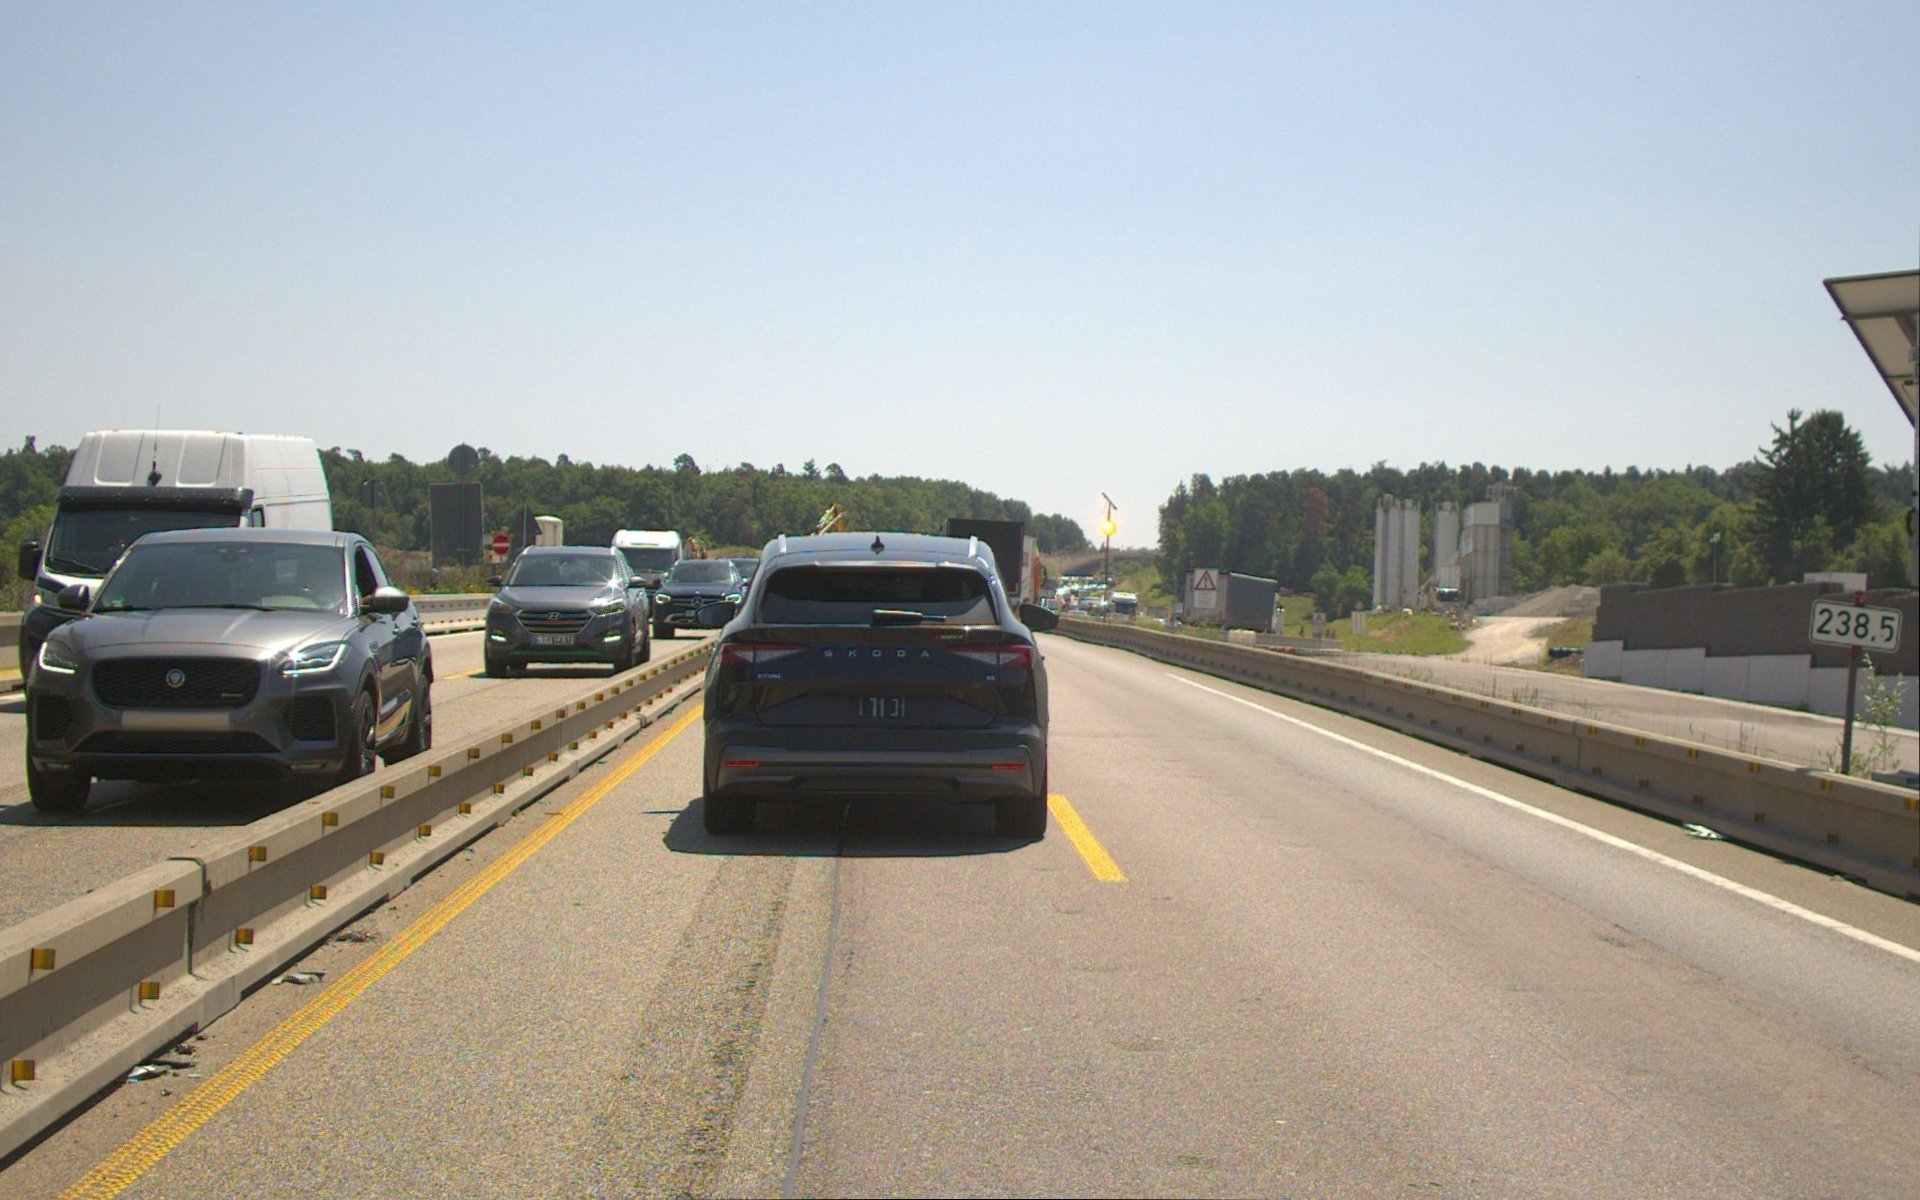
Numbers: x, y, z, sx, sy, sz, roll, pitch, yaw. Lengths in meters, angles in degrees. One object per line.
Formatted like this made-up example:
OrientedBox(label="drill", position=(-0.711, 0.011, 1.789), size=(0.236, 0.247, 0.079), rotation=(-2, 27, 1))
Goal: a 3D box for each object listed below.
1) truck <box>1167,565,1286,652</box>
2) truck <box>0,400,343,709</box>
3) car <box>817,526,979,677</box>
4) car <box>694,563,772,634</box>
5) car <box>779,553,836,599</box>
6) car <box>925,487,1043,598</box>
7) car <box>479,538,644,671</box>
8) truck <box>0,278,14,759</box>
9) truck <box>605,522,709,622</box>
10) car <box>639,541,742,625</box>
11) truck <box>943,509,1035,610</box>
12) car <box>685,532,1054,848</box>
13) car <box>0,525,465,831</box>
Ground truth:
OrientedBox(label="truck", position=(15.358, 0.532, 197.034), size=(3.480, 4.206, 10.363), rotation=(7, 0, 22))
OrientedBox(label="truck", position=(-7.824, -0.466, 34.740), size=(2.239, 2.777, 6.493), rotation=(1, 1, -3))
OrientedBox(label="car", position=(-0.879, 0.015, 46.385), size=(1.993, 1.838, 4.000), rotation=(3, 0, -2))
OrientedBox(label="car", position=(-6.143, -0.076, 93.641), size=(1.907, 1.798, 5.082), rotation=(1, 1, -2))
OrientedBox(label="car", position=(-5.541, -0.885, 125.176), size=(1.904, 1.603, 4.000), rotation=(1, 1, -1))
OrientedBox(label="car", position=(1.092, -2.355, 144.496), size=(3.438, 4.087, 9.193), rotation=(6, 0, 8))
OrientedBox(label="car", position=(-5.119, 0.026, 44.608), size=(1.938, 1.605, 4.001), rotation=(1, 1, -4))
OrientedBox(label="truck", position=(-7.706, -0.502, 19.651), size=(2.495, 3.280, 8.118), rotation=(1, 1, -1))
OrientedBox(label="truck", position=(-8.959, -0.798, 102.209), size=(2.480, 2.815, 8.129), rotation=(1, 0, -1))
OrientedBox(label="car", position=(-5.535, -0.372, 71.005), size=(1.845, 1.635, 4.000), rotation=(1, 1, -1))
OrientedBox(label="truck", position=(0.841, -1.239, 104.544), size=(2.673, 2.935, 5.621), rotation=(1, 1, 0))
OrientedBox(label="car", position=(-0.468, 0.414, 19.210), size=(1.842, 1.576, 4.000), rotation=(0, 1, 0))
OrientedBox(label="car", position=(-4.315, 0.388, 21.089), size=(1.942, 1.653, 4.745), rotation=(0, 1, -1))
